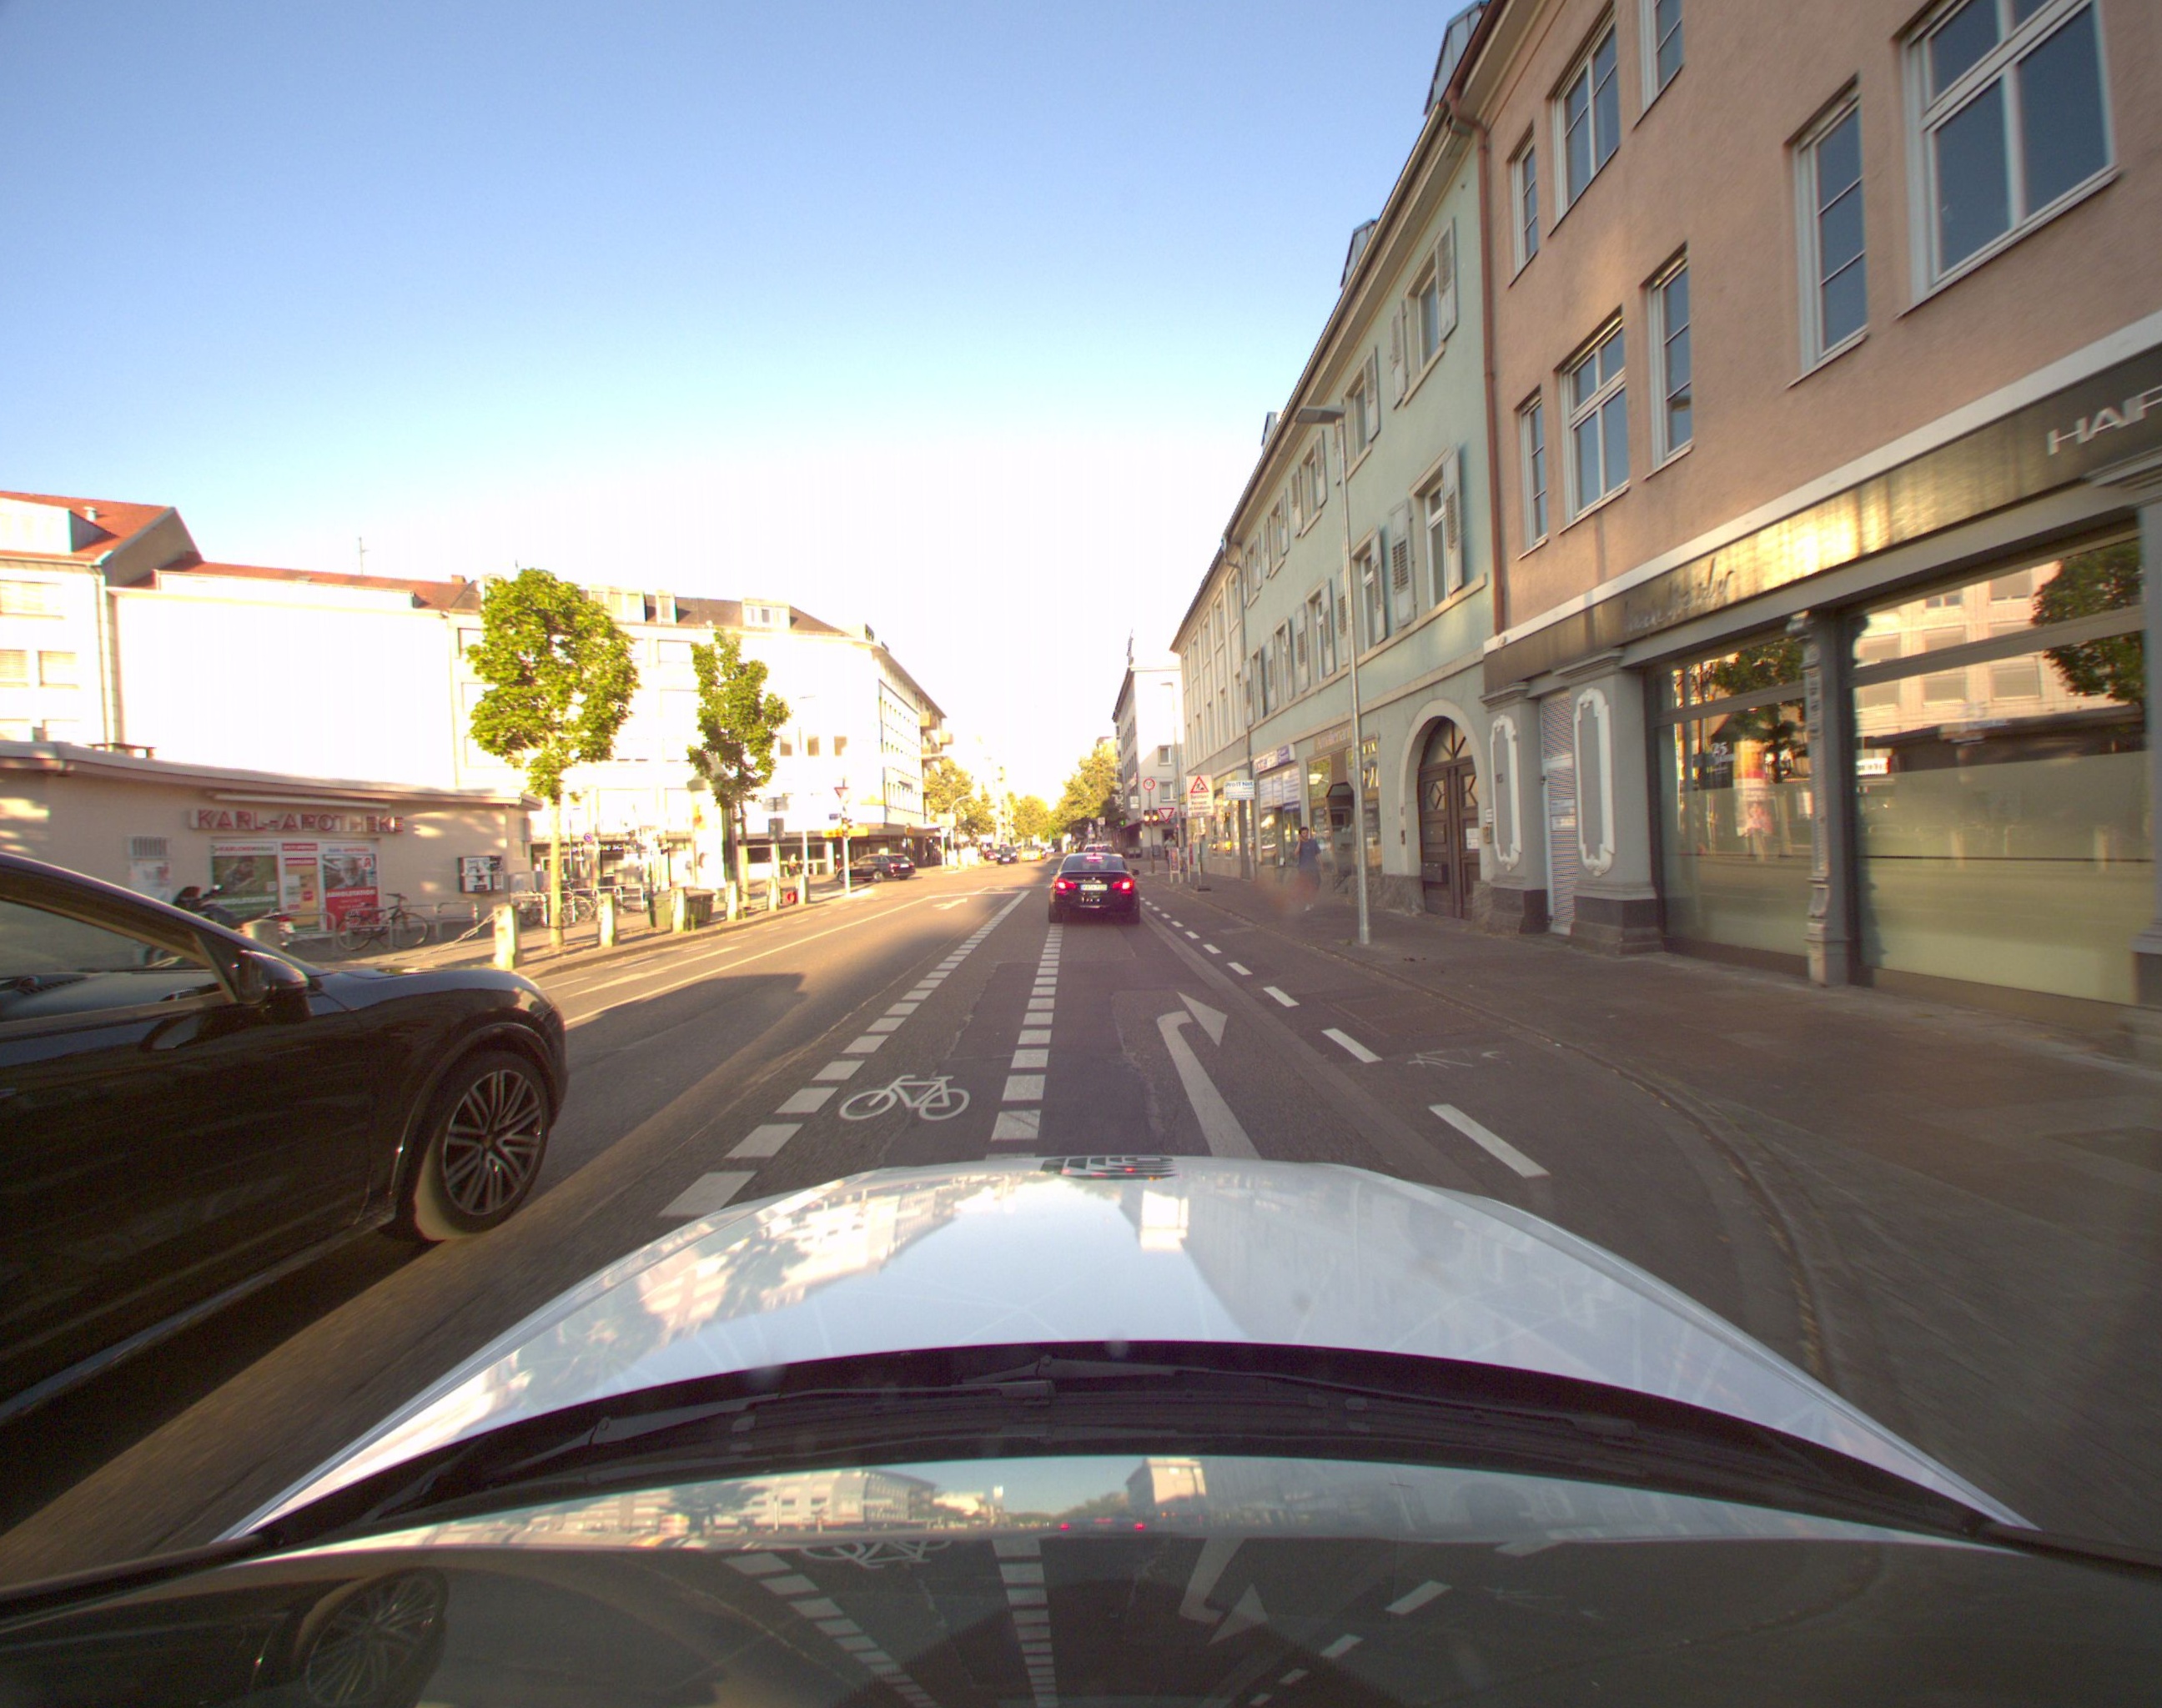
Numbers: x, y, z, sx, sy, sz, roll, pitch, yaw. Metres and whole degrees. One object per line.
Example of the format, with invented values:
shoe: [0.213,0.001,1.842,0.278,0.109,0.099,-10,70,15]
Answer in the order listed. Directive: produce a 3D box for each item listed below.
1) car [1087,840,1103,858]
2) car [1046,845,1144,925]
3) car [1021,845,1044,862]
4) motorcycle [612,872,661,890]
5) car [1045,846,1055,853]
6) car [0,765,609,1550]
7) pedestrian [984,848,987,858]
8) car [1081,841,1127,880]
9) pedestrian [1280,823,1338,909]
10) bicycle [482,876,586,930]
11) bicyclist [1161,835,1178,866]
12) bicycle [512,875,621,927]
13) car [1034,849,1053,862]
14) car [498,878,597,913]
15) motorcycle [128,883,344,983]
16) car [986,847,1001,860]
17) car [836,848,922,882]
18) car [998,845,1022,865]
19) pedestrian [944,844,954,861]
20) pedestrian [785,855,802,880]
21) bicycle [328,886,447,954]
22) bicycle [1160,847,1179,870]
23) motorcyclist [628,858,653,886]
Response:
car: [1.401,-0.504,83.167,1.418,1.854,3.049,-2,0,-4]
car: [0.217,0.575,18.009,1.898,1.540,4.447,0,1,-2]
car: [-4.817,-0.066,79.848,1.991,1.442,3.991,-3,1,-6]
motorcycle: [-22.346,1.355,40.956,2.042,0.780,0.656,-3,1,-37]
car: [-6.013,-0.803,158.372,1.732,1.293,3.991,-3,1,-6]
car: [-3.368,0.711,1.814,1.943,1.714,4.559,-3,1,-1]
pedestrian: [-13.866,-0.161,118.257,0.443,1.416,0.525,-3,0,-3]
car: [1.104,0.251,37.296,1.824,1.575,4.106,-2,1,5]
pedestrian: [4.550,0.235,16.320,0.821,1.641,0.871,-3,0,-3]
bicycle: [-14.353,1.274,21.403,1.999,1.256,0.950,-3,0,0]
bicyclist: [4.455,-0.174,41.073,0.719,1.507,0.900,-3,0,0]
bicycle: [-14.266,1.301,22.623,2.435,1.256,0.787,-3,0,0]
car: [-3.969,0.111,86.629,1.732,1.293,3.991,-3,1,-6]
car: [-27.705,2.141,42.442,4.007,1.486,1.983,-3,1,-26]
motorcycle: [-13.911,1.285,13.465,2.572,1.429,0.868,-3,0,0]
car: [-10.900,-0.098,101.201,1.732,1.461,3.991,-3,1,-6]
car: [-10.790,0.588,43.442,4.392,1.595,1.891,-2,1,32]
car: [-6.535,0.084,74.349,1.991,1.618,3.991,-3,1,-6]
pedestrian: [-13.541,-0.178,83.532,0.821,1.676,0.871,-3,0,-2]
pedestrian: [-18.899,0.877,53.549,0.950,1.537,0.901,-3,0,-25]
bicycle: [-14.265,1.348,16.779,1.847,1.256,0.633,-3,0,0]
bicycle: [4.473,0.205,41.114,0.688,1.107,1.896,-3,1,0]
motorcyclist: [-22.193,0.904,41.024,0.999,1.319,0.760,-3,1,-35]
